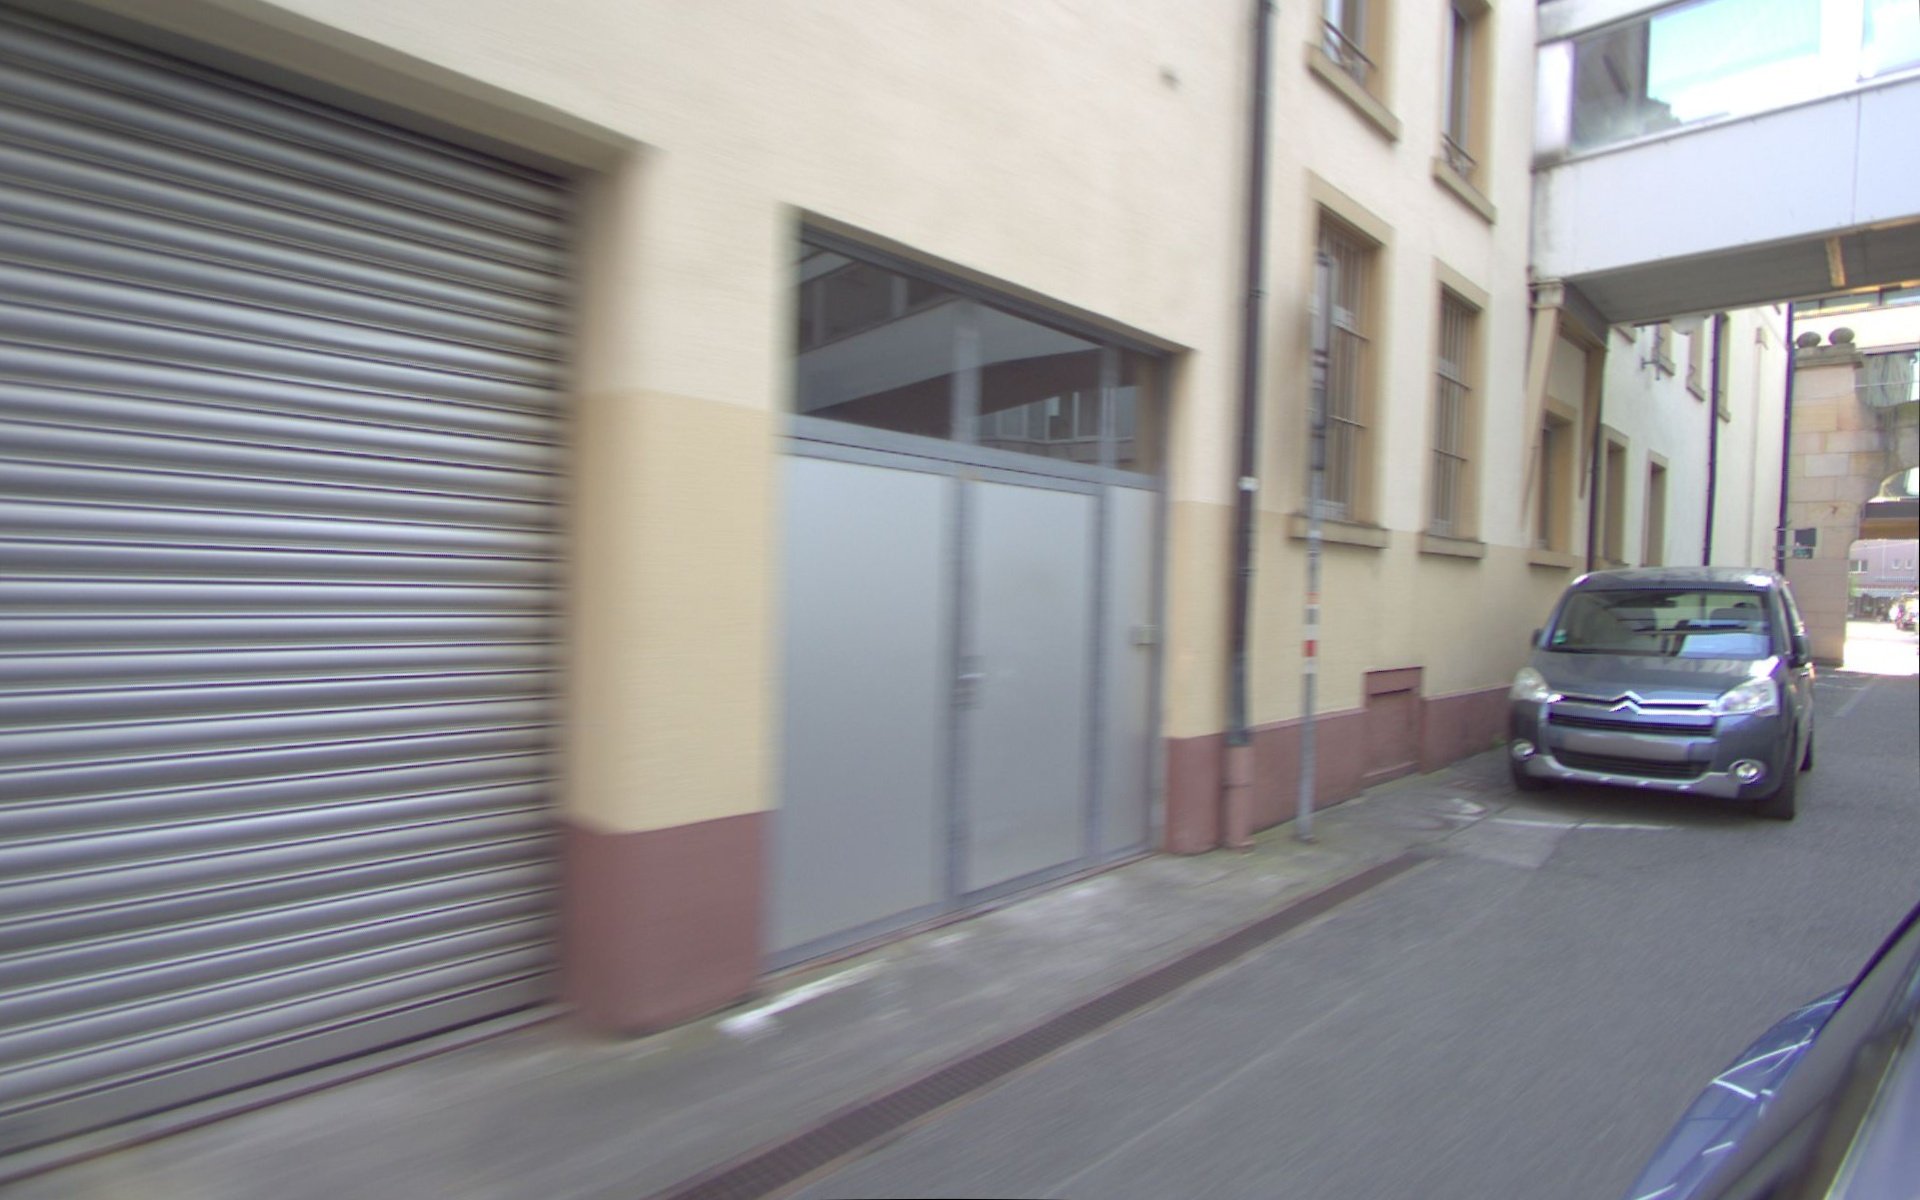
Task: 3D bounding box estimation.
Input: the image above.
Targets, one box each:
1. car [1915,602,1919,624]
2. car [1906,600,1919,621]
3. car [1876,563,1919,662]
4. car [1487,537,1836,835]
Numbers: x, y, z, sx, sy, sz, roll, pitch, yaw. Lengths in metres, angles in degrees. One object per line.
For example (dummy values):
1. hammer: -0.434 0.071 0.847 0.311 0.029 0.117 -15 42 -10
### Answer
1. car: 64.737 0.841 67.154 1.799 1.441 3.699 1 0 41
2. car: 68.279 0.765 71.648 1.799 1.441 3.699 1 0 41
3. car: 27.415 0.344 25.684 6.011 2.566 2.244 1 0 39
4. car: 6.019 0.517 8.407 1.759 1.789 4.676 0 0 43
